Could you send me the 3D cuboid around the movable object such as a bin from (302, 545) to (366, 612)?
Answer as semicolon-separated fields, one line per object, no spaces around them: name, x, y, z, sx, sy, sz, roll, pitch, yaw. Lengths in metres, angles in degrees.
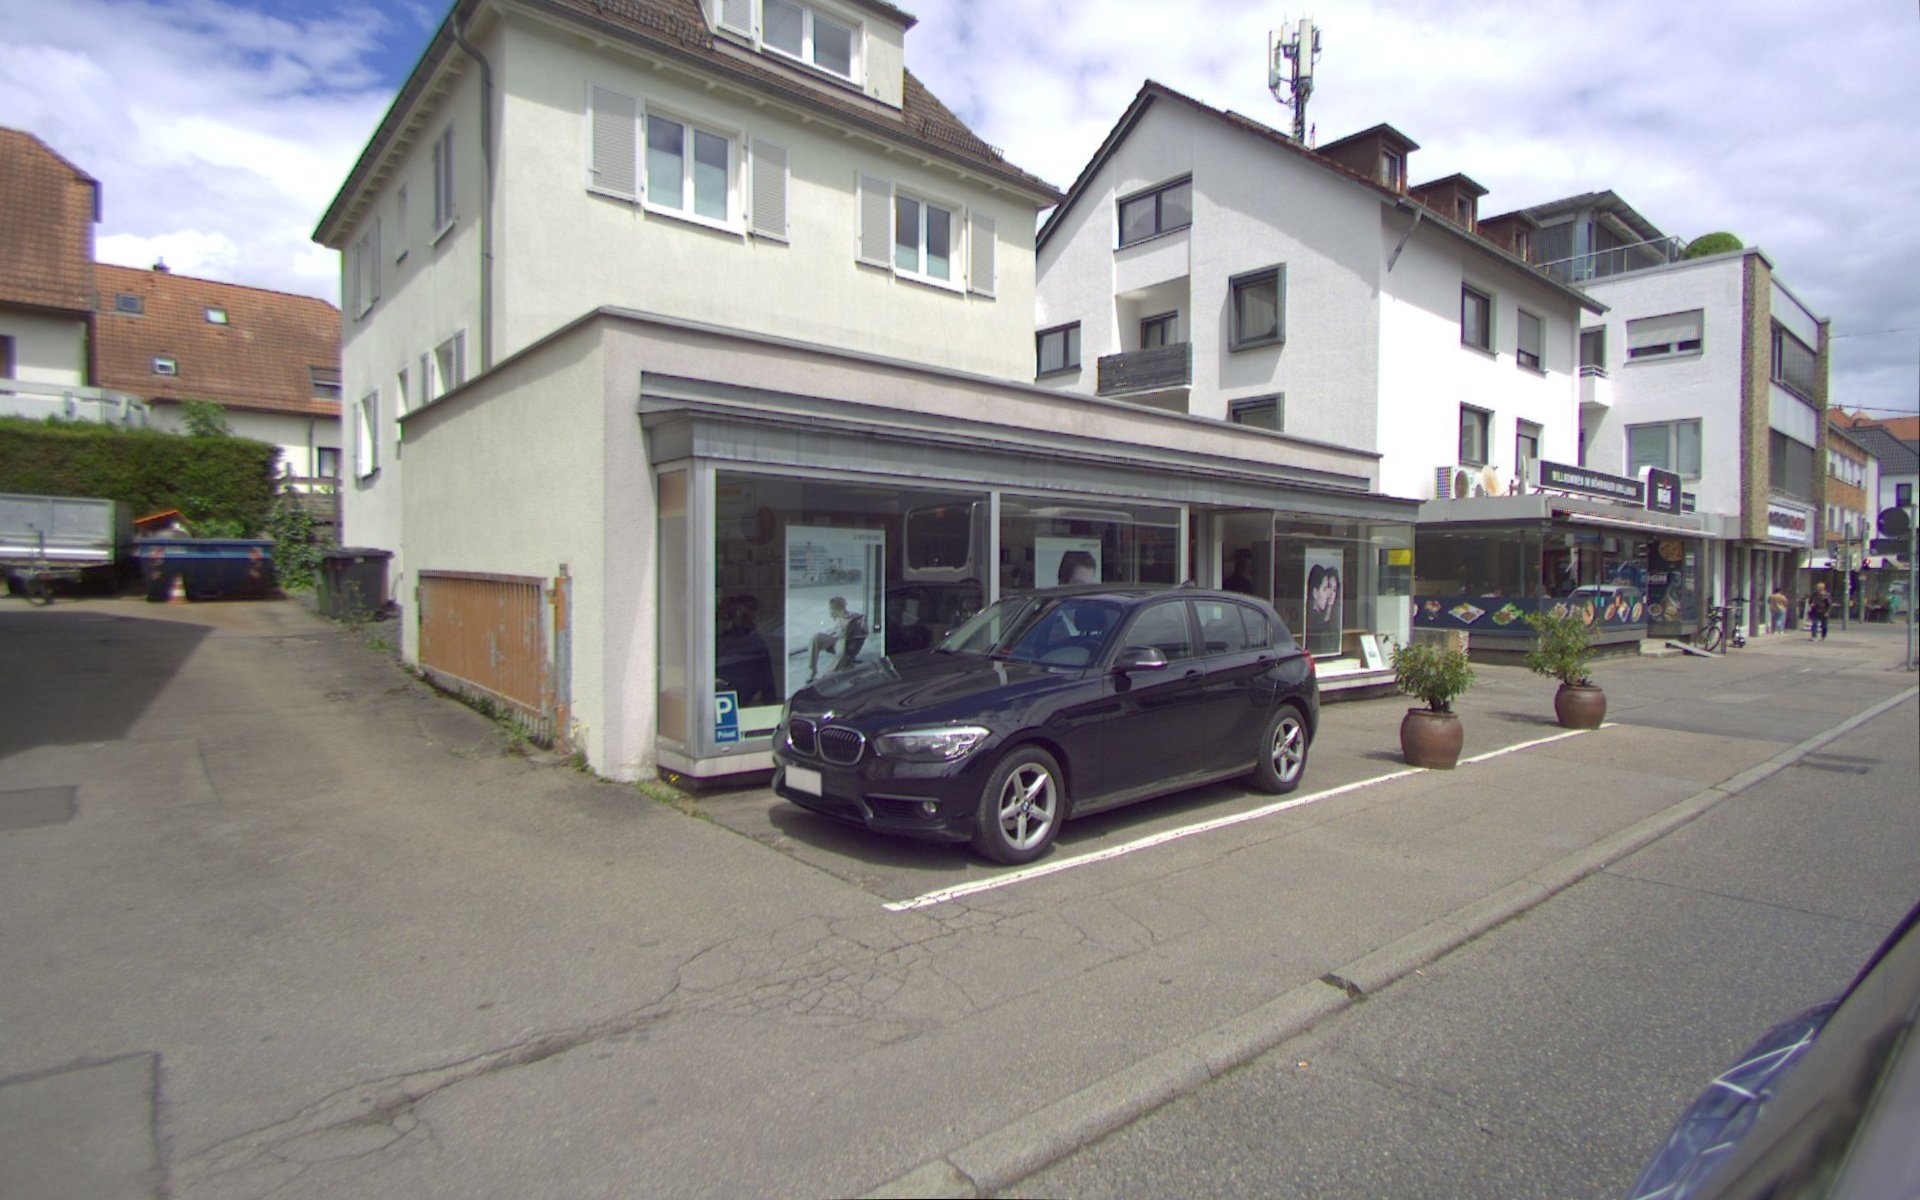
movable object such as a bin;-9.650;-0.341;15.594;0.751;0.982;0.609;-1;4;-42

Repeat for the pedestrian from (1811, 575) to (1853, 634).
pedestrian;25.782;0.114;29.907;0.793;1.691;0.796;0;2;-41

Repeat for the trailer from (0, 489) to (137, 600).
trailer;-14.320;-0.921;16.075;1.612;1.556;3.551;1;3;-35

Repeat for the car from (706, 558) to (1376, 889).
car;0.801;0.510;6.755;4.459;1.465;1.971;0;2;-43

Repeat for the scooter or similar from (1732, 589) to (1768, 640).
scooter or similar;20.711;0.363;26.546;0.686;1.283;1.170;2;2;37

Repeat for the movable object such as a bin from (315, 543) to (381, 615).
movable object such as a bin;-9.184;-0.316;15.179;0.751;1.031;0.609;-1;4;-42

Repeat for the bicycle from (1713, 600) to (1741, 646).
bicycle;18.750;0.543;24.732;0.474;1.040;1.612;2;2;39

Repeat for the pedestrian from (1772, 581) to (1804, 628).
pedestrian;27.035;0.131;33.048;0.707;1.517;0.680;0;1;-41

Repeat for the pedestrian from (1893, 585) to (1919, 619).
pedestrian;42.867;0.086;45.836;0.804;1.544;0.779;0;1;-39

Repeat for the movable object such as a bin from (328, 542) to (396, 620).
movable object such as a bin;-8.723;-0.288;14.763;0.751;1.096;0.609;-1;4;-42
